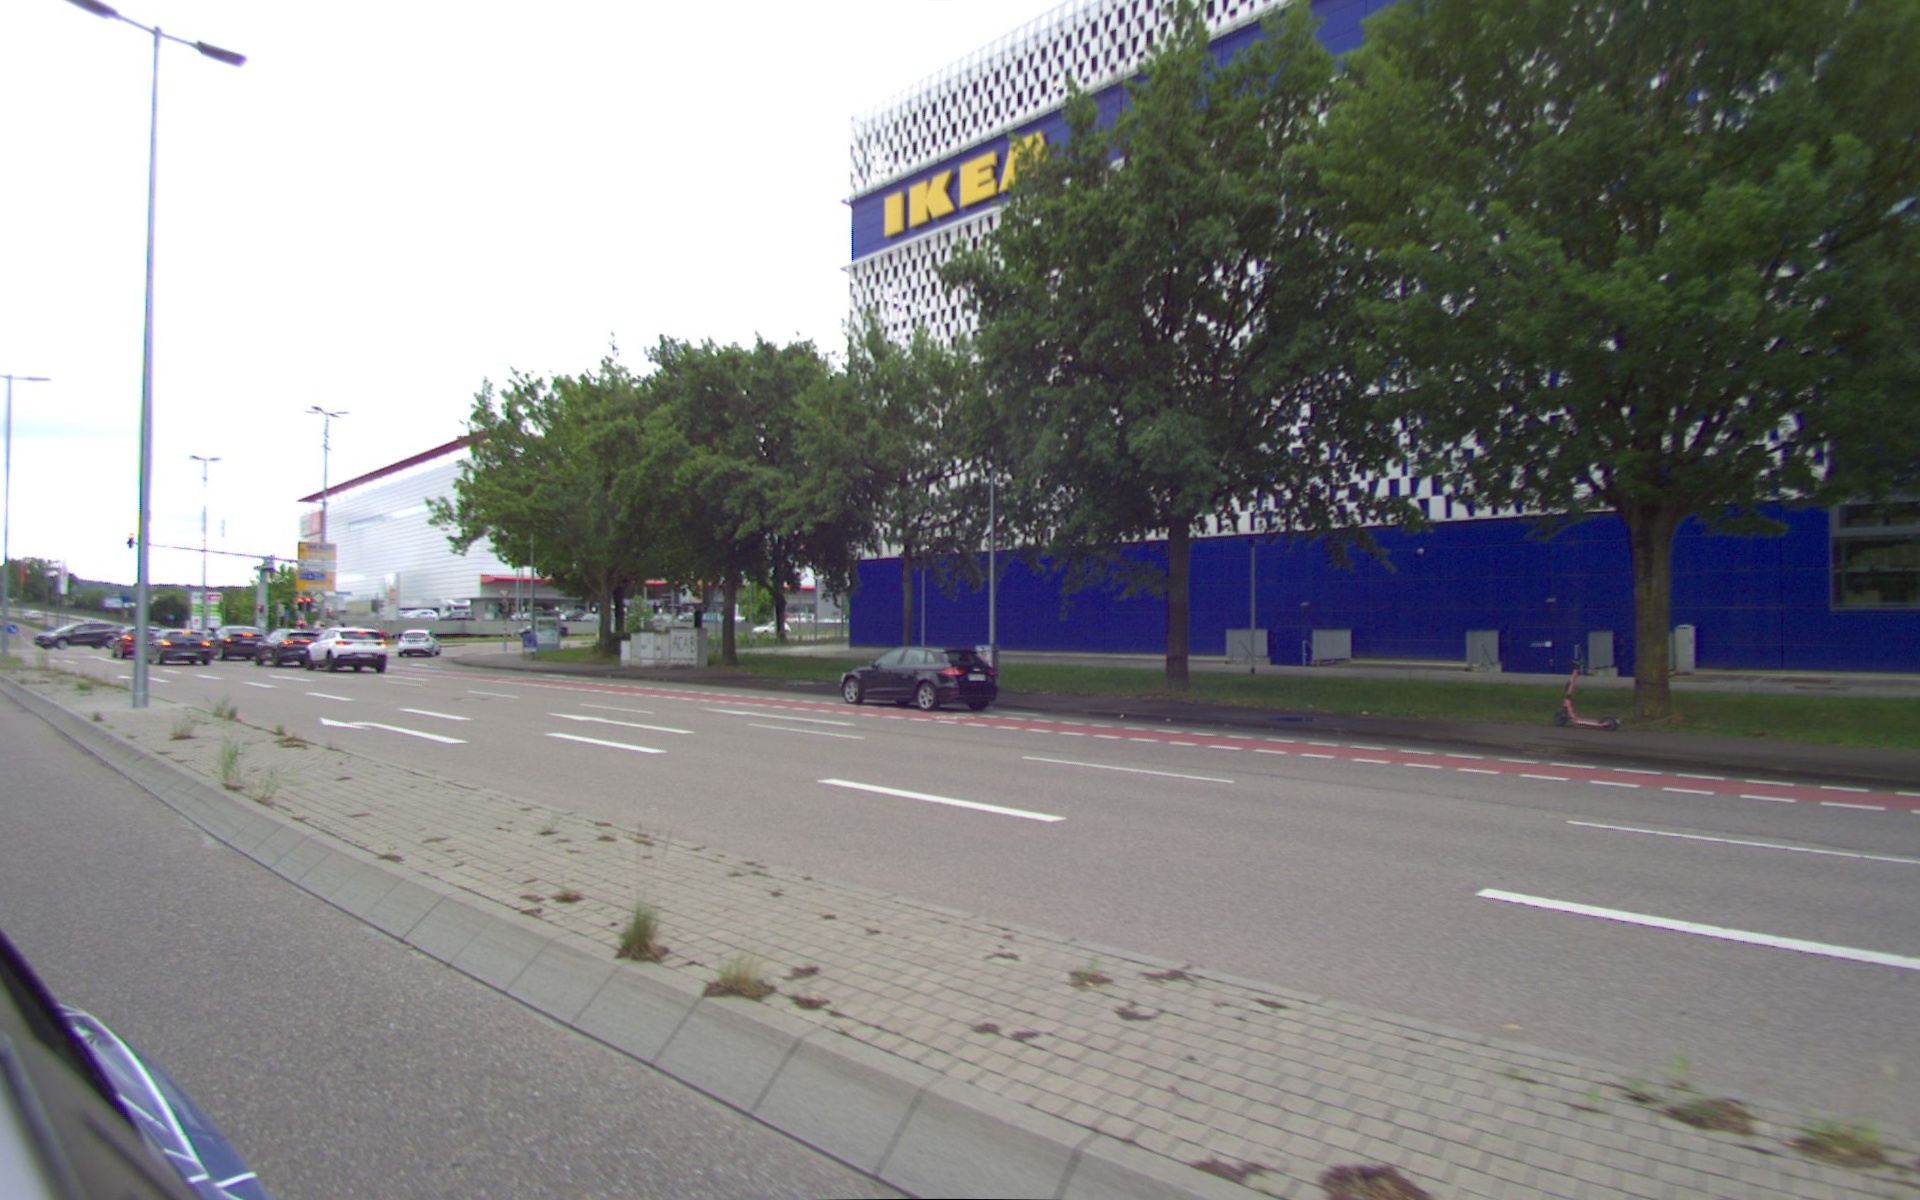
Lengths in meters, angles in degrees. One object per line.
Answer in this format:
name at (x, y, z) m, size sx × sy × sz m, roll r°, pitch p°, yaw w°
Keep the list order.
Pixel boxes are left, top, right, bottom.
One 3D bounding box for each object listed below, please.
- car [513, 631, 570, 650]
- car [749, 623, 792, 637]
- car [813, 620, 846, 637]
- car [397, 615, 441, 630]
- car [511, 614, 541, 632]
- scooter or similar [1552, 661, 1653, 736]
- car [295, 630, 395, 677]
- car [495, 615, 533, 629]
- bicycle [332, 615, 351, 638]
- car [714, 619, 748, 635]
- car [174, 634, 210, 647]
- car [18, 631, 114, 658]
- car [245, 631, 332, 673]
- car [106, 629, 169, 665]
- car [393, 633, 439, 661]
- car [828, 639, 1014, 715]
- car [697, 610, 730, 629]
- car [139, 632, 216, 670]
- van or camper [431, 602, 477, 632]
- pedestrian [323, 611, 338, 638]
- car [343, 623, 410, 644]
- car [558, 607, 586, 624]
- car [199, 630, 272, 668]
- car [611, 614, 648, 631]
car at (-35.654, 3.463, 86.306) m, size 4.155 × 1.426 × 1.804 m, roll 0°, pitch -3°, yaw -43°
car at (-20.260, 3.190, 108.152) m, size 4.155 × 1.426 × 1.804 m, roll 0°, pitch -3°, yaw -43°
car at (-17.315, 3.785, 134.068) m, size 1.971 × 2.029 × 4.329 m, roll 0°, pitch -3°, yaw -45°
car at (-63.945, 2.664, 119.678) m, size 4.195 × 1.688 × 1.778 m, roll 0°, pitch -3°, yaw -43°
car at (-51.257, 2.685, 119.456) m, size 3.869 × 1.962 × 1.843 m, roll -4°, pitch -3°, yaw 44°
scooter or similar at (11.184, 1.688, 17.632) m, size 1.377 × 1.205 × 0.648 m, roll -2°, pitch -2°, yaw 41°
car at (-22.776, 1.991, 37.403) m, size 4.578 × 1.607 × 1.971 m, roll -3°, pitch -6°, yaw 44°
car at (-58.938, 2.859, 133.704) m, size 4.195 × 1.688 × 1.778 m, roll 0°, pitch -3°, yaw -43°
bicycle at (-38.676, 1.681, 63.345) m, size 0.587 × 1.407 × 1.940 m, roll 2°, pitch -2°, yaw -19°
car at (-31.048, 3.616, 137.359) m, size 2.001 × 2.029 × 3.942 m, roll -4°, pitch -3°, yaw 44°
car at (-112.078, 5.910, 147.653) m, size 4.130 × 1.622 × 1.725 m, roll 0°, pitch -3°, yaw -39°
car at (-56.084, 2.775, 63.548) m, size 1.797 × 1.586 × 4.172 m, roll -4°, pitch -3°, yaw 32°
car at (-27.504, 2.115, 41.396) m, size 4.597 × 1.556 × 1.860 m, roll 0°, pitch -3°, yaw 42°
car at (-38.246, 2.167, 47.034) m, size 4.079 × 1.499 × 1.716 m, roll 0°, pitch -2°, yaw 43°
car at (-30.352, 2.667, 56.563) m, size 1.831 × 1.473 × 4.345 m, roll 2°, pitch -4°, yaw -23°
car at (-0.971, 1.701, 23.111) m, size 1.895 × 1.513 × 4.256 m, roll 5°, pitch -4°, yaw -43°
car at (-29.171, 2.348, 119.696) m, size 1.971 × 2.029 × 4.002 m, roll 0°, pitch -3°, yaw -45°
car at (-31.800, 2.066, 41.092) m, size 4.332 × 1.473 × 1.836 m, roll -3°, pitch -5°, yaw 44°
van or camper at (-57.393, 1.948, 114.703) m, size 2.674 × 3.159 × 7.243 m, roll 0°, pitch -3°, yaw -43°
pedestrian at (-39.241, 1.512, 63.113) m, size 0.630 × 1.639 × 0.694 m, roll 1°, pitch -1°, yaw -20°
car at (-44.868, 2.549, 77.851) m, size 4.155 × 1.426 × 1.804 m, roll 0°, pitch -3°, yaw -43°
car at (-51.598, 2.109, 134.424) m, size 1.971 × 2.029 × 4.002 m, roll 0°, pitch -3°, yaw -45°
car at (-34.402, 2.297, 48.021) m, size 4.332 × 1.650 × 1.860 m, roll -1°, pitch -5°, yaw 42°
car at (-41.844, 2.818, 128.056) m, size 2.001 × 2.029 × 3.942 m, roll -4°, pitch -3°, yaw 44°
